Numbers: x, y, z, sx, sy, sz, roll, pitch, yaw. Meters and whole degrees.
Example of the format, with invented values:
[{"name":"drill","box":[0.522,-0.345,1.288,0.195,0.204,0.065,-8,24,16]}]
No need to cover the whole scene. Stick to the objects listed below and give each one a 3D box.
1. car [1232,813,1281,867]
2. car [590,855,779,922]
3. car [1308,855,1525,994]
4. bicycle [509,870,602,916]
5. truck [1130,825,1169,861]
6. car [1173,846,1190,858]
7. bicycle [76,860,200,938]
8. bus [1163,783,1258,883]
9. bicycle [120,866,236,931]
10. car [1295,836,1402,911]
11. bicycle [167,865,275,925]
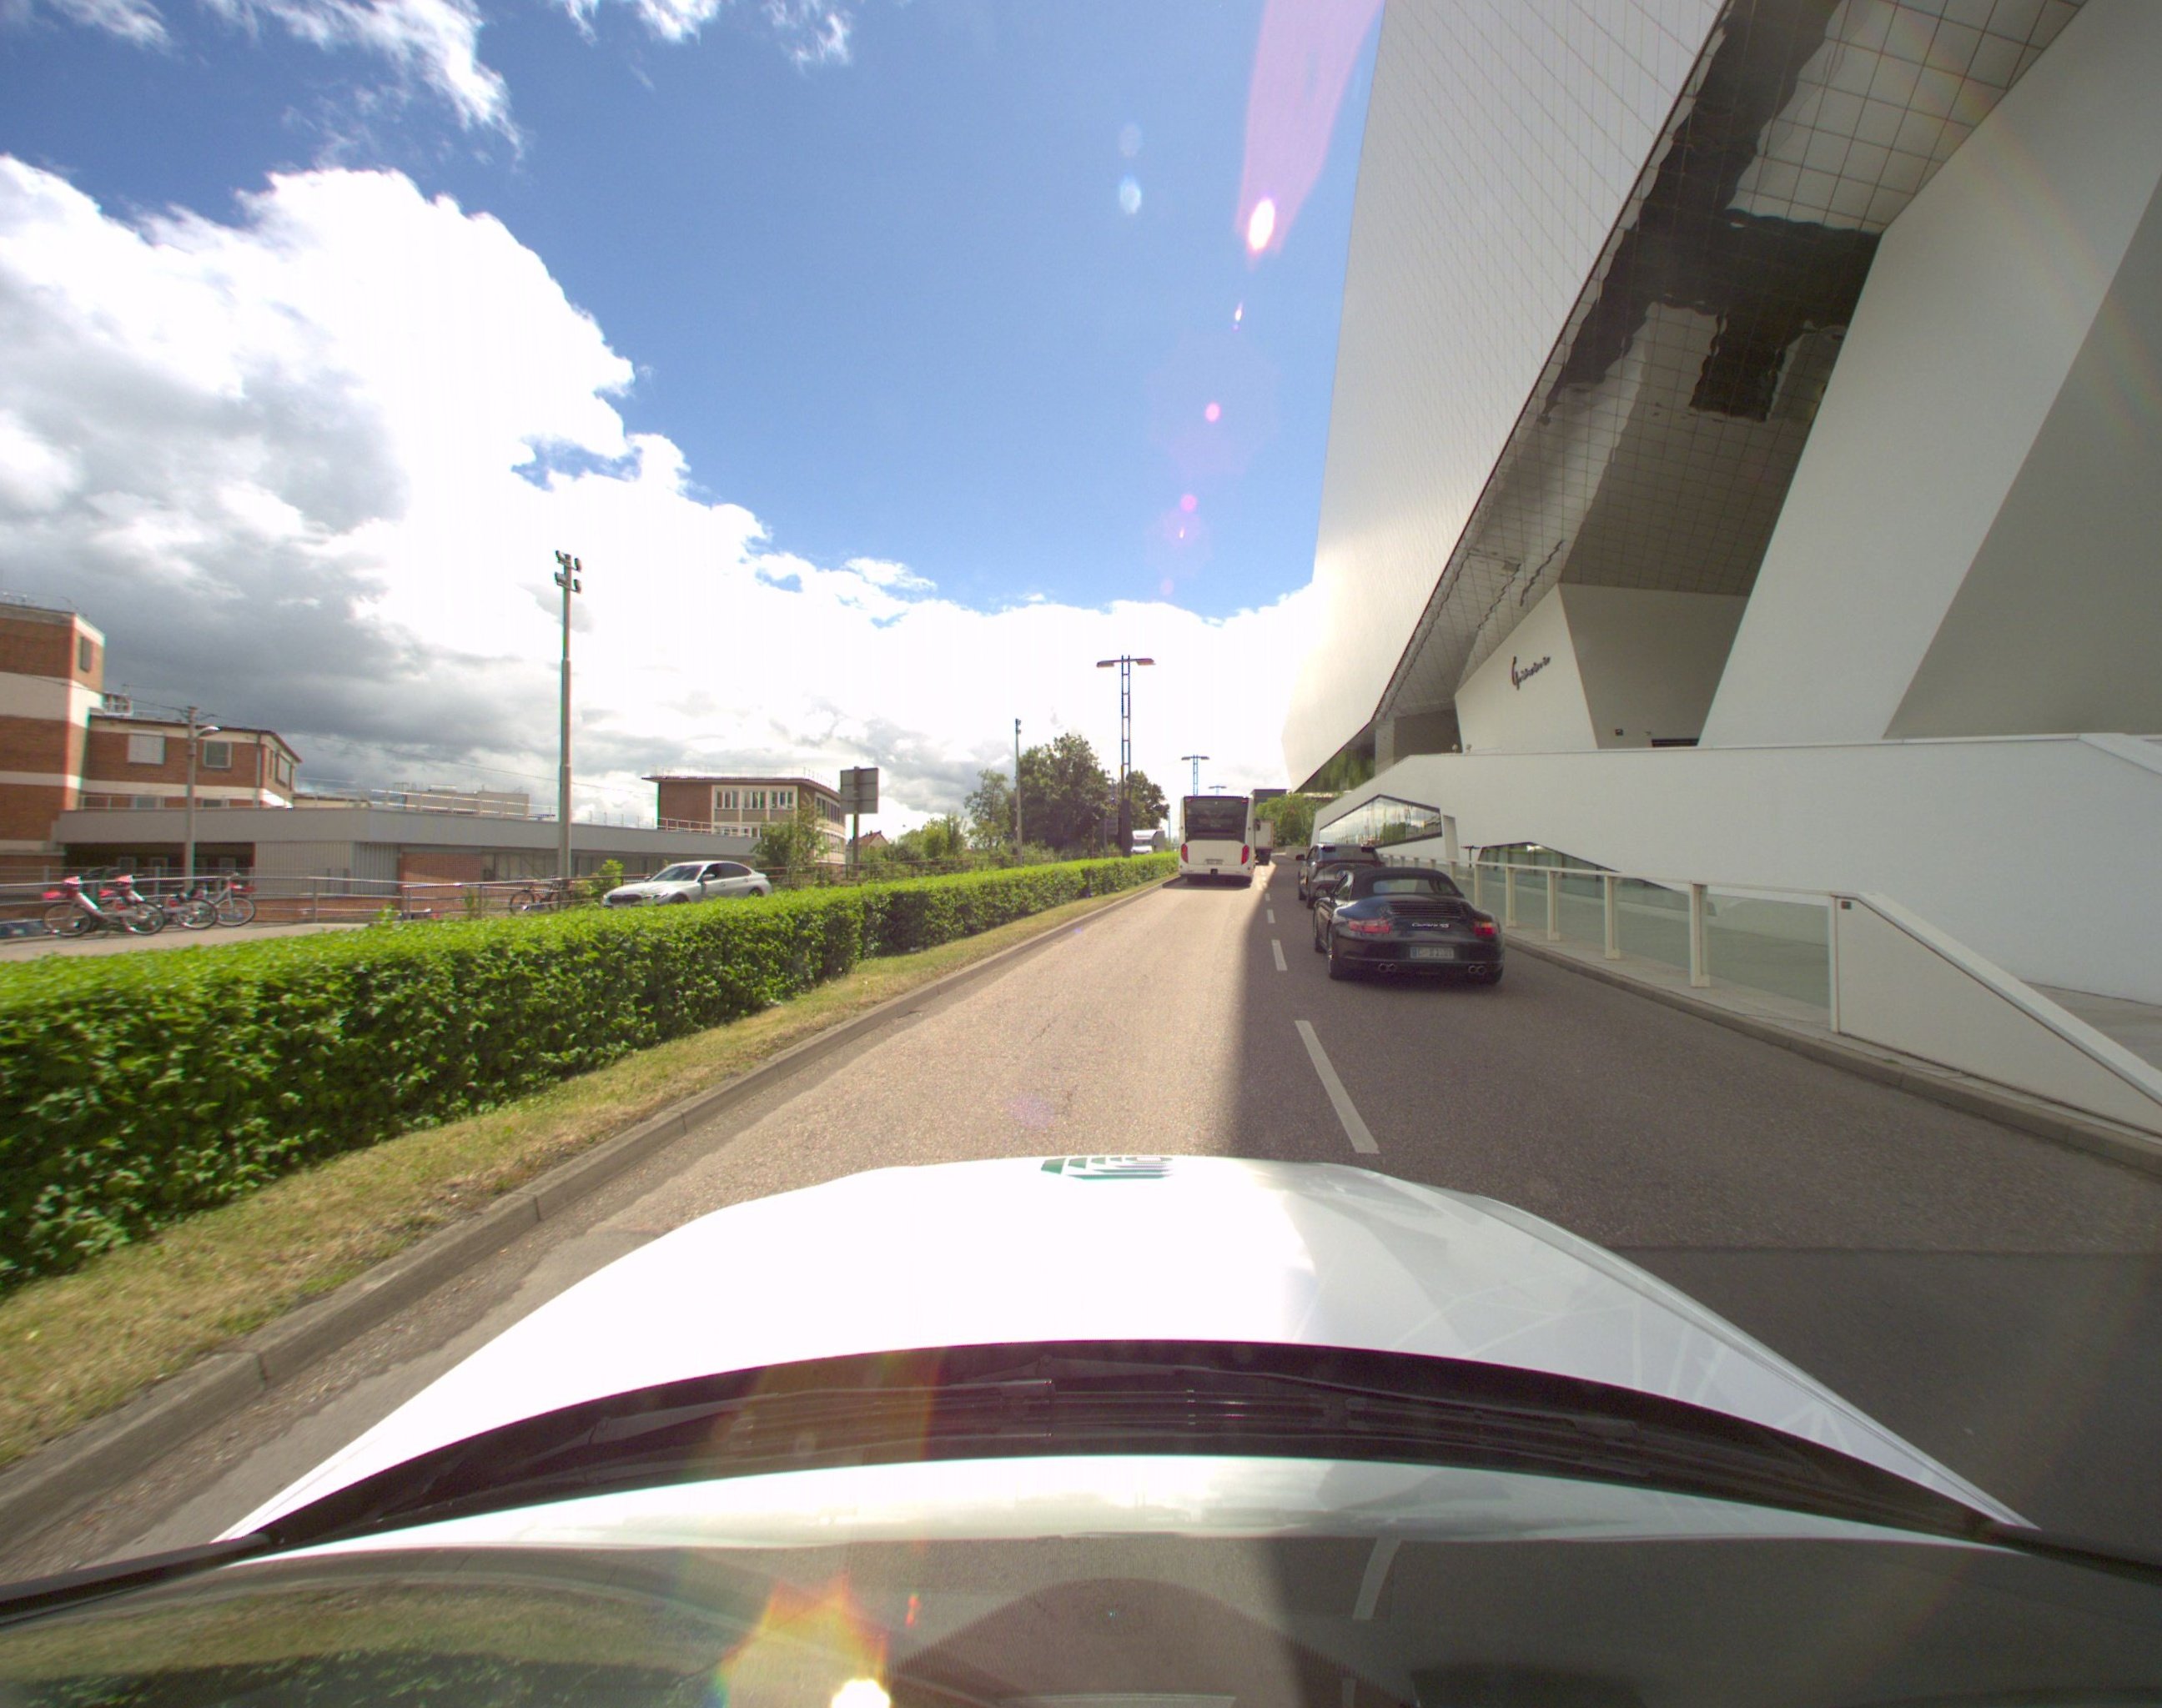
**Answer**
[{"name":"car","box":[13.152,-0.899,61.327,3.314,3.505,9.368,1,-2,11]},{"name":"car","box":[-9.869,0.768,20.760,1.743,1.397,4.691,1,1,13]},{"name":"car","box":[4.007,0.729,10.407,1.822,1.325,4.013,0,1,11]},{"name":"bicycle","box":[-13.635,0.987,21.227,0.449,1.071,2.305,1,1,15]},{"name":"truck","box":[6.699,-1.020,78.878,2.179,2.961,8.985,1,-2,15]},{"name":"car","box":[15.097,-0.278,122.075,1.979,1.713,4.015,1,-2,14]},{"name":"bicycle","box":[-17.595,0.825,15.213,1.726,1.381,0.672,1,-2,11]},{"name":"bus","box":[5.681,-0.803,33.729,3.051,3.362,12.266,1,1,13]},{"name":"bicycle","box":[-17.830,0.861,16.086,1.727,1.182,0.672,1,2,8]},{"name":"car","box":[6.528,0.393,20.320,1.981,1.636,4.012,1,1,10]},{"name":"bicycle","box":[-17.876,0.839,16.933,1.726,1.182,0.672,1,-1,10]}]
